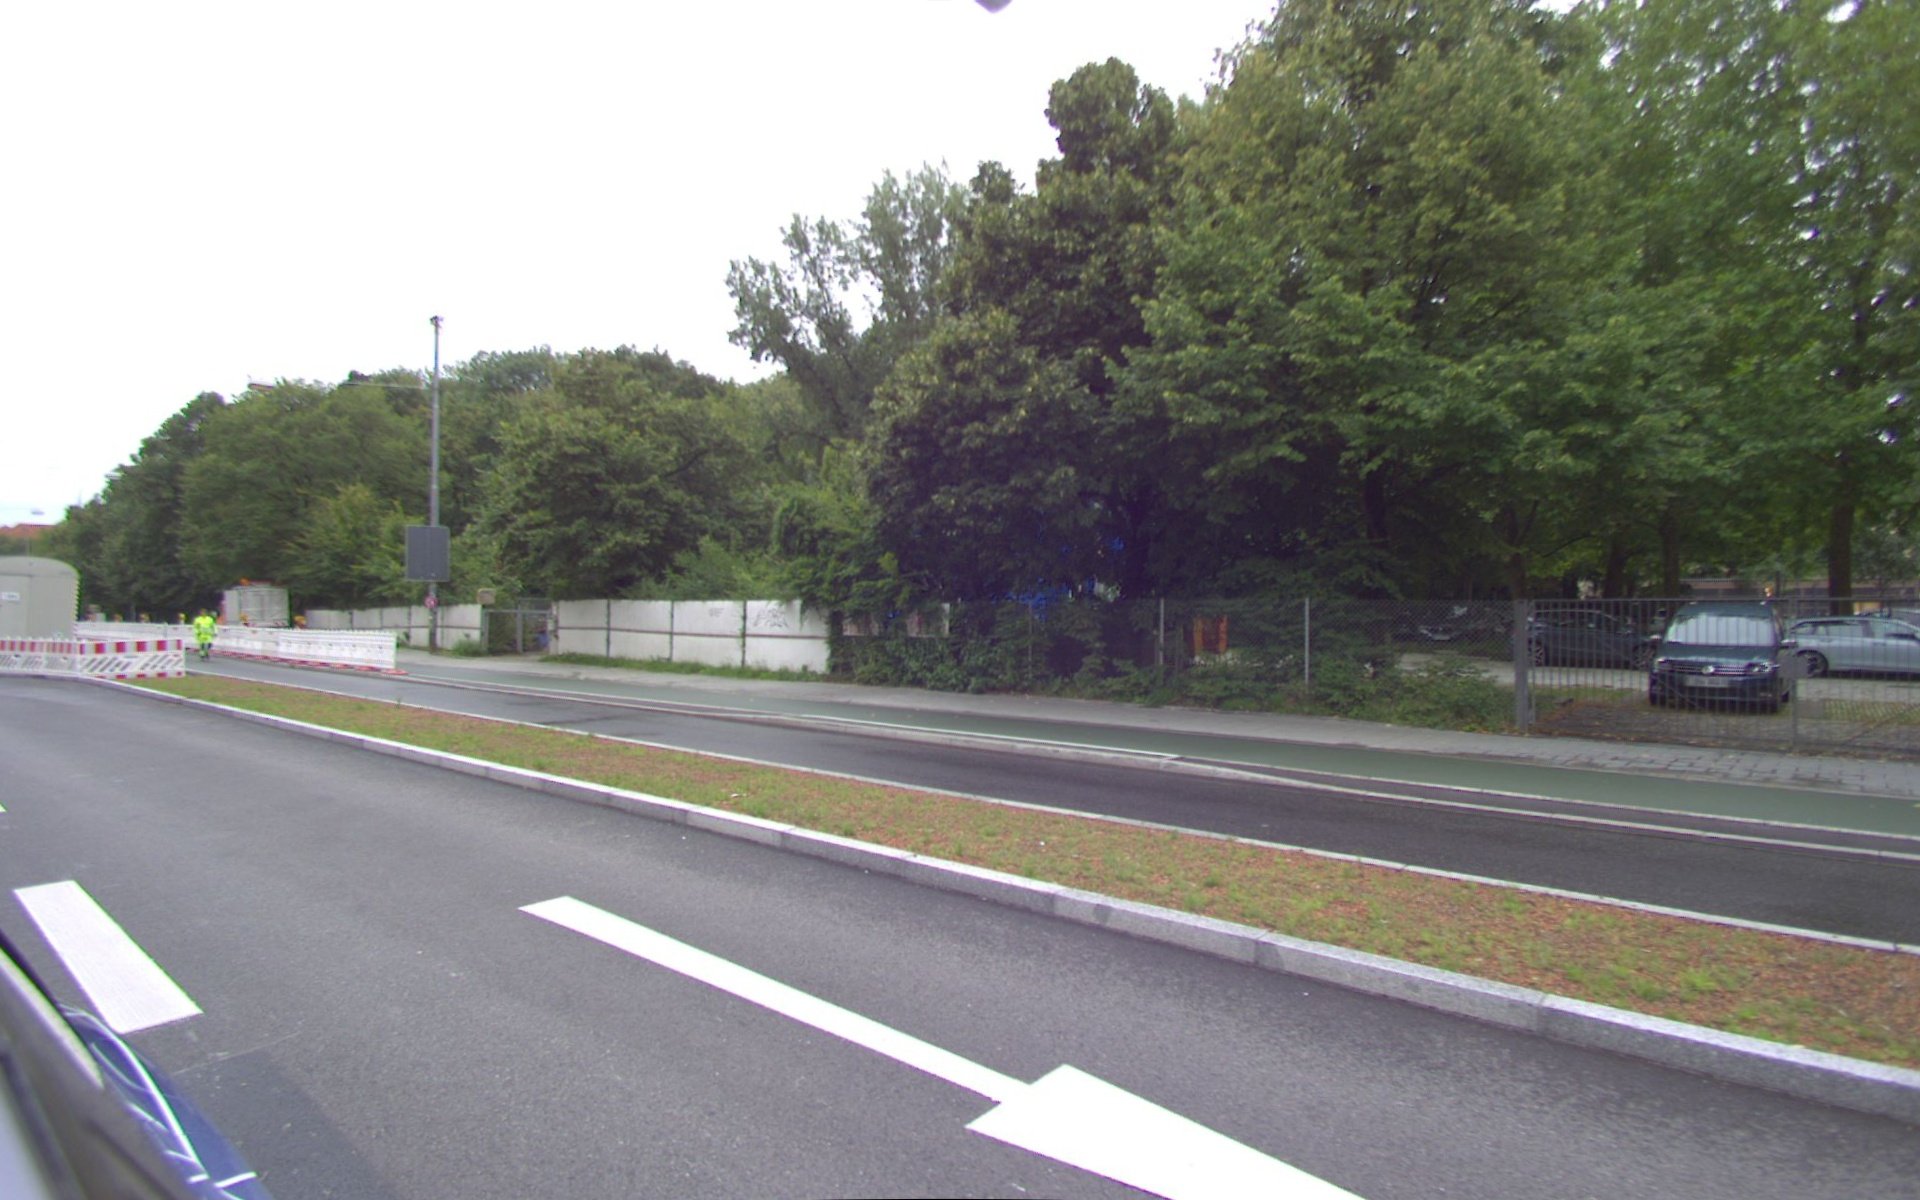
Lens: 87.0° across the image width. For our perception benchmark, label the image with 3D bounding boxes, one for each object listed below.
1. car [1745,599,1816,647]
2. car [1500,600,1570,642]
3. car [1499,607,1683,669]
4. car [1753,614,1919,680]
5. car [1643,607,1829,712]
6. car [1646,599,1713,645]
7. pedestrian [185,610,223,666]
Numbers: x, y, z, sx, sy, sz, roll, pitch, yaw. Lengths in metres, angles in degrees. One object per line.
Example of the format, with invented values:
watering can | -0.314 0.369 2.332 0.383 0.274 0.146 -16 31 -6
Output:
car | 31.302 0.854 38.688 1.998 1.732 3.948 -1 -1 39
car | 24.768 0.900 43.526 1.998 1.732 3.948 -1 -1 39
car | 16.952 0.988 27.285 3.997 1.556 1.752 -1 -1 40
car | 21.371 1.063 23.459 4.630 1.452 1.973 -1 -1 41
car | 13.384 0.952 17.376 4.095 1.601 1.807 1 -2 -42
car | 28.916 0.871 40.630 1.998 1.732 3.948 -1 -1 39
pedestrian | -26.837 1.352 35.920 0.874 1.956 0.879 -1 -2 39
